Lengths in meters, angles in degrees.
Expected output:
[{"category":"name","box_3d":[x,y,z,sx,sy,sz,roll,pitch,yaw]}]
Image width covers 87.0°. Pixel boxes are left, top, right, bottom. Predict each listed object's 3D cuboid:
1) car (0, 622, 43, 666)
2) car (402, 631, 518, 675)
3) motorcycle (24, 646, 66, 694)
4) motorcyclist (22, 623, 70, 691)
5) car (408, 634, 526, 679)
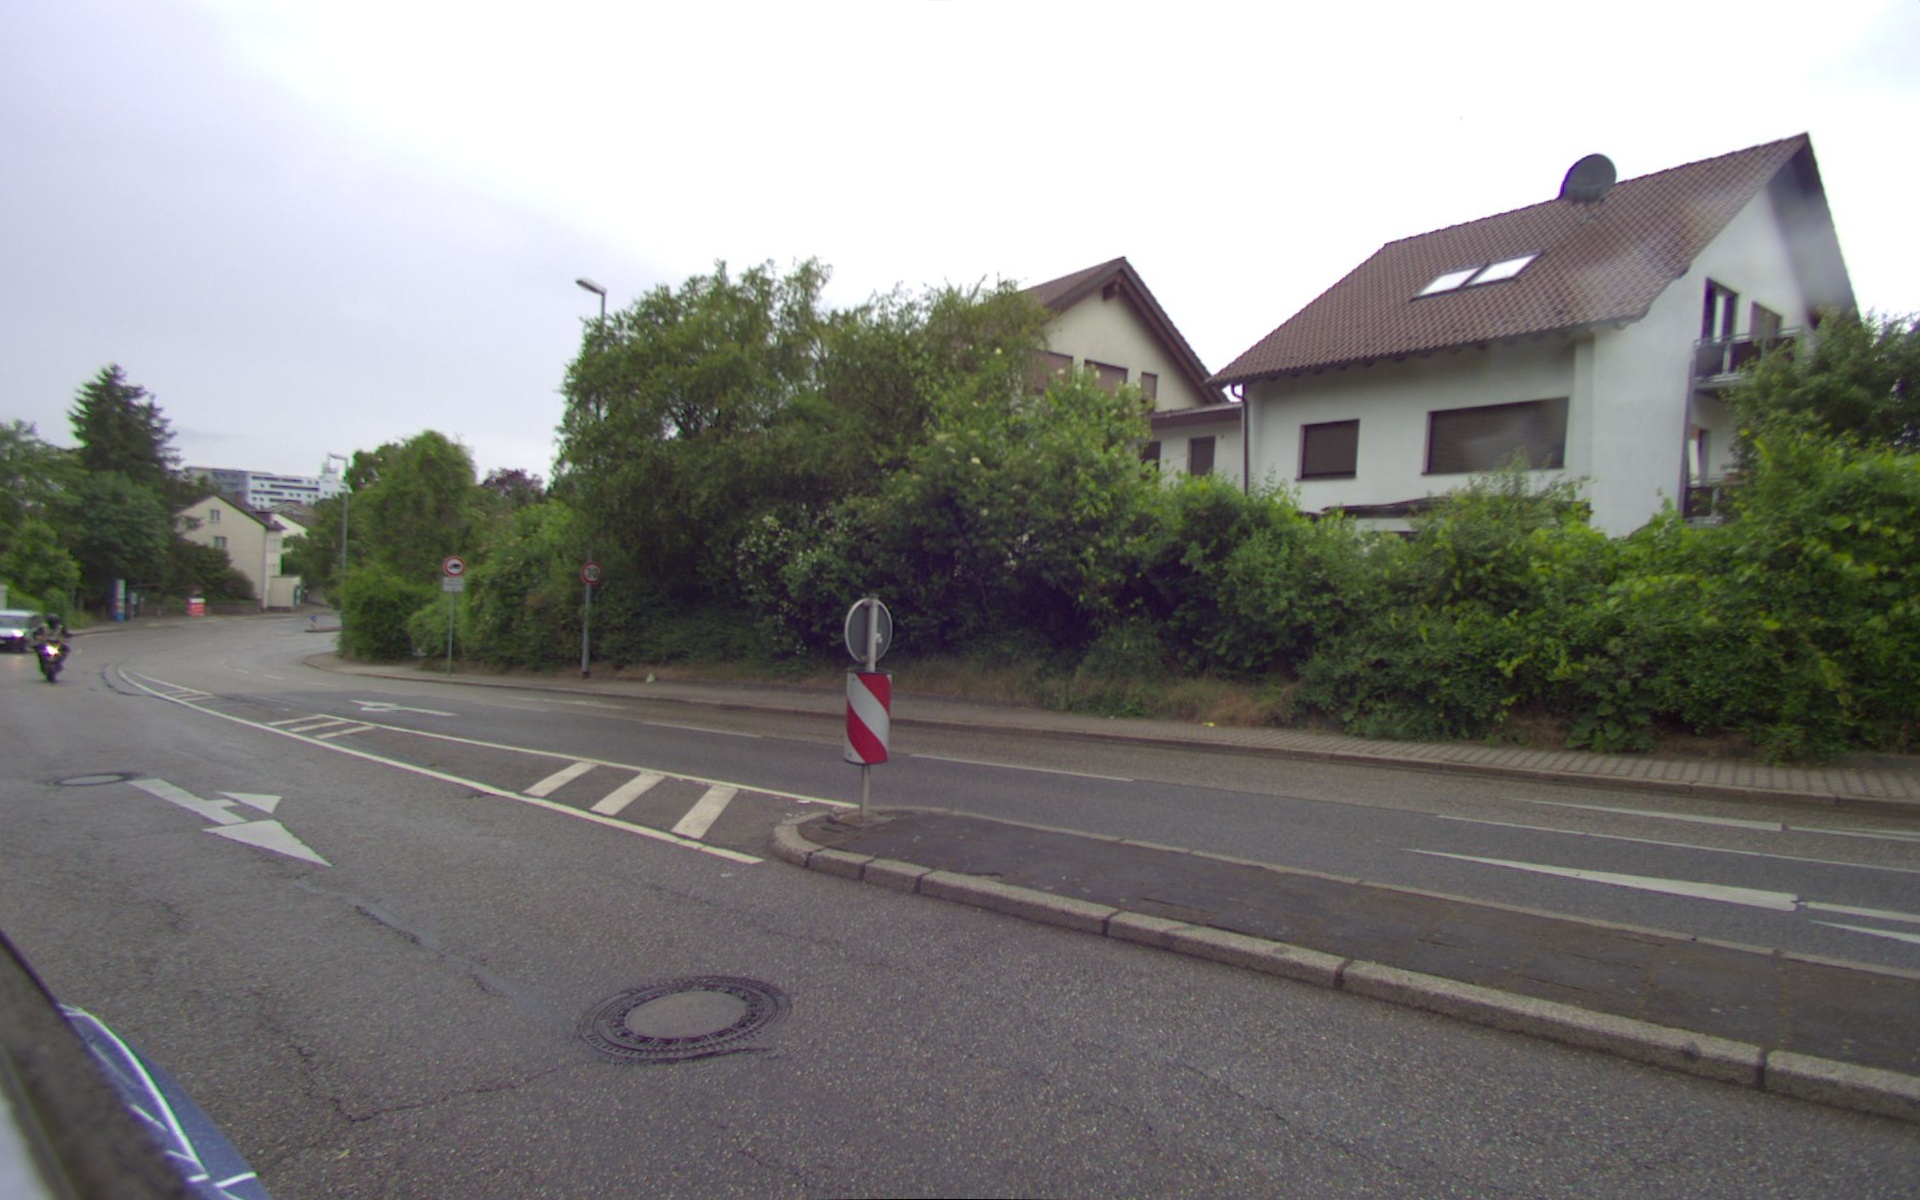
[{"category":"car","box_3d":[-41.840,1.871,44.327,1.749,1.788,4.011,6,-4,-33]},{"category":"car","box_3d":[-20.991,2.188,42.538,3.939,1.548,2.003,-3,1,-42]},{"category":"motorcycle","box_3d":[-22.780,1.735,25.187,0.682,1.061,1.749,6,-3,-43]},{"category":"motorcyclist","box_3d":[-22.750,1.413,25.185,0.756,1.655,0.675,5,-4,-44]},{"category":"car","box_3d":[-19.502,2.192,40.096,3.853,1.451,1.814,-3,1,-41]}]
